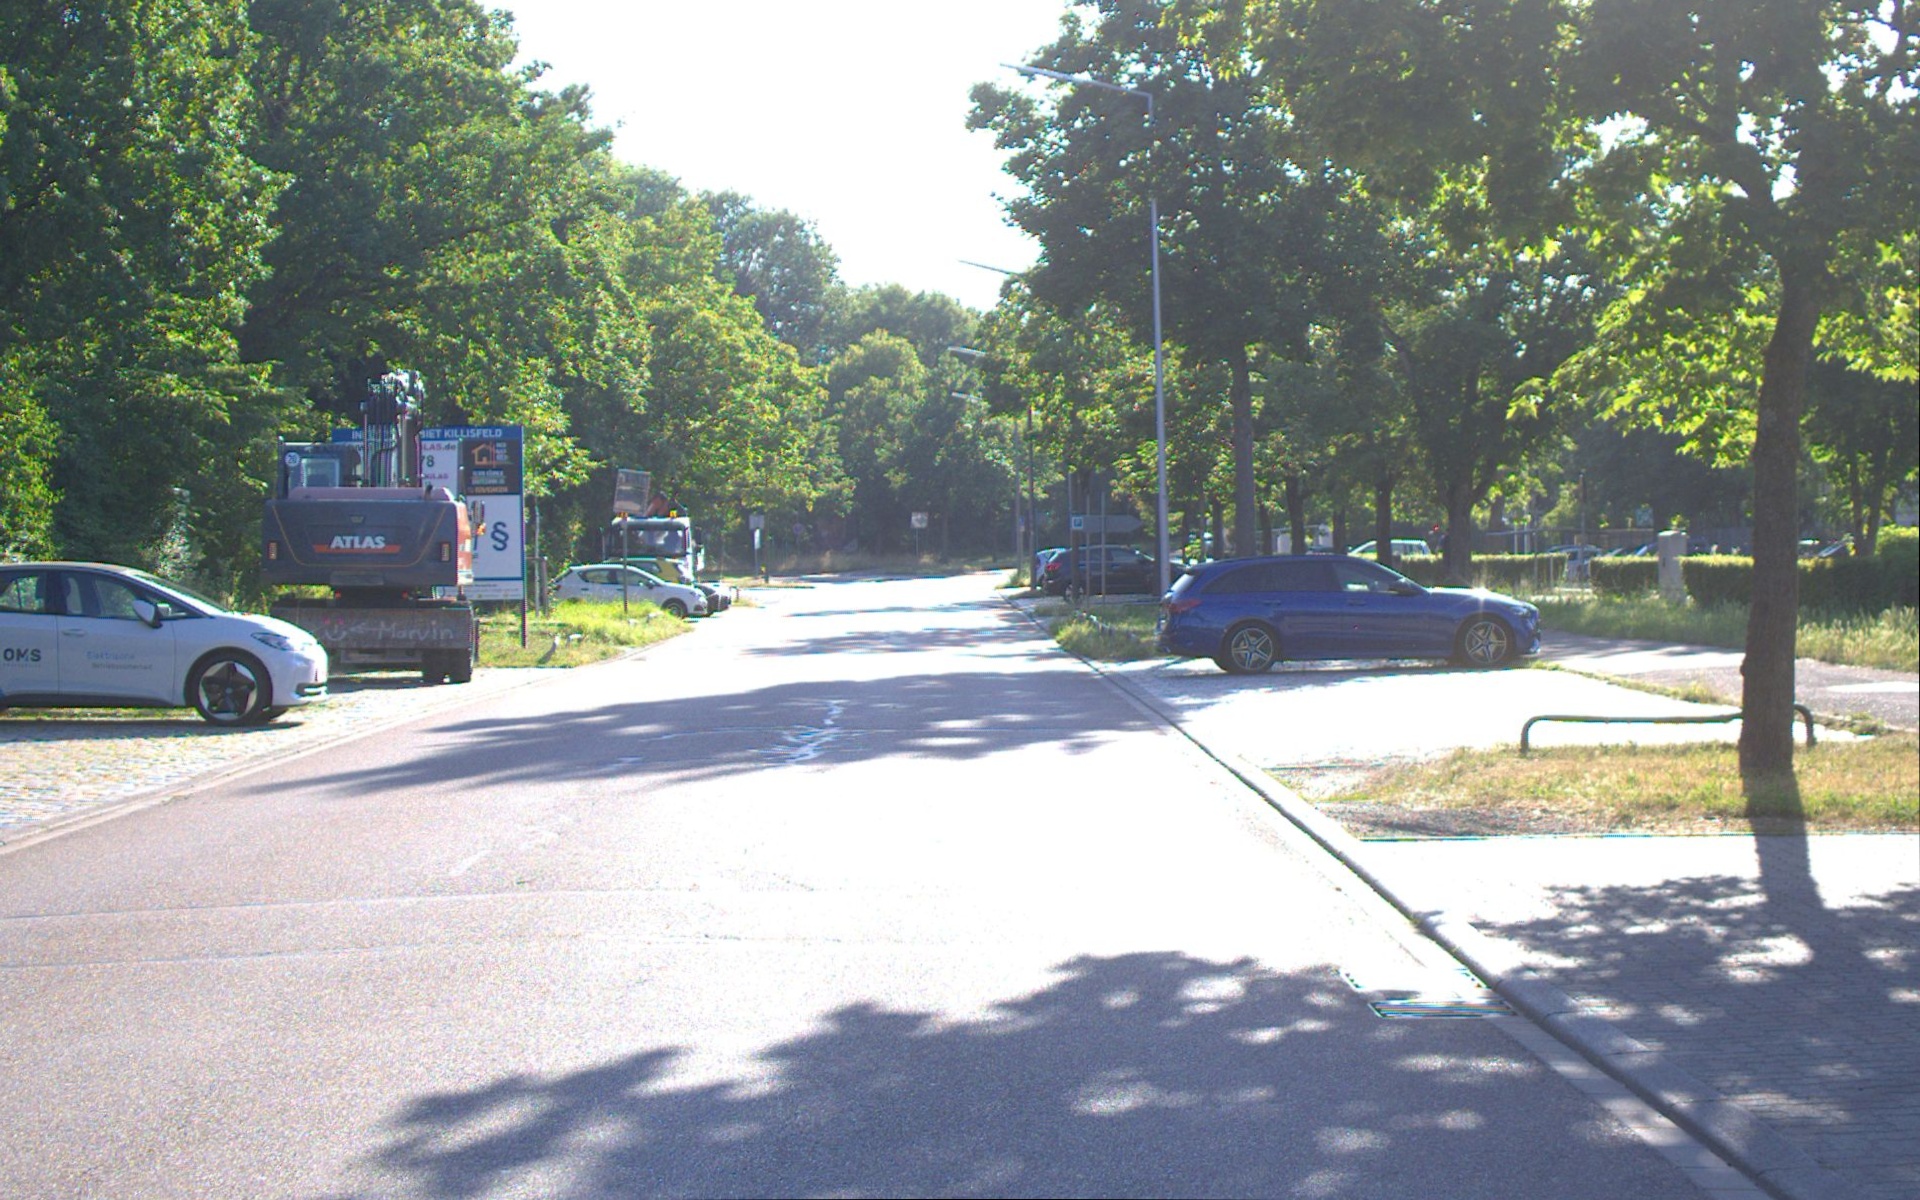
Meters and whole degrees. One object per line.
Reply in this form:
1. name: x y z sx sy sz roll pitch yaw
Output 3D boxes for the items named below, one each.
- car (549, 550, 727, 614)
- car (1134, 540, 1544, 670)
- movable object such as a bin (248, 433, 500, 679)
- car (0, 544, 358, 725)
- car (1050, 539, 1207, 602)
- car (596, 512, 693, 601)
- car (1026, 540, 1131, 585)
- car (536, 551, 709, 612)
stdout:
1. car: -8.070 -0.462 86.080 4.357 1.474 2.000 -1 1 -7
2. car: 4.630 0.042 42.534 4.841 1.474 2.000 -1 1 1
3. movable object such as a bin: -7.737 -0.593 45.925 2.838 3.058 4.928 -1 1 -5
4. car: -8.178 0.287 33.087 4.358 1.542 2.000 2 1 1
5. car: 4.822 -0.857 98.998 4.358 1.723 2.000 1 1 -1
6. car: -8.788 -1.209 95.431 2.516 2.378 4.374 -1 1 -7
7. car: 4.660 -1.472 135.488 3.987 1.674 2.000 -1 1 -1
8. car: -8.718 -0.495 88.674 4.357 1.474 2.000 -1 1 -7
